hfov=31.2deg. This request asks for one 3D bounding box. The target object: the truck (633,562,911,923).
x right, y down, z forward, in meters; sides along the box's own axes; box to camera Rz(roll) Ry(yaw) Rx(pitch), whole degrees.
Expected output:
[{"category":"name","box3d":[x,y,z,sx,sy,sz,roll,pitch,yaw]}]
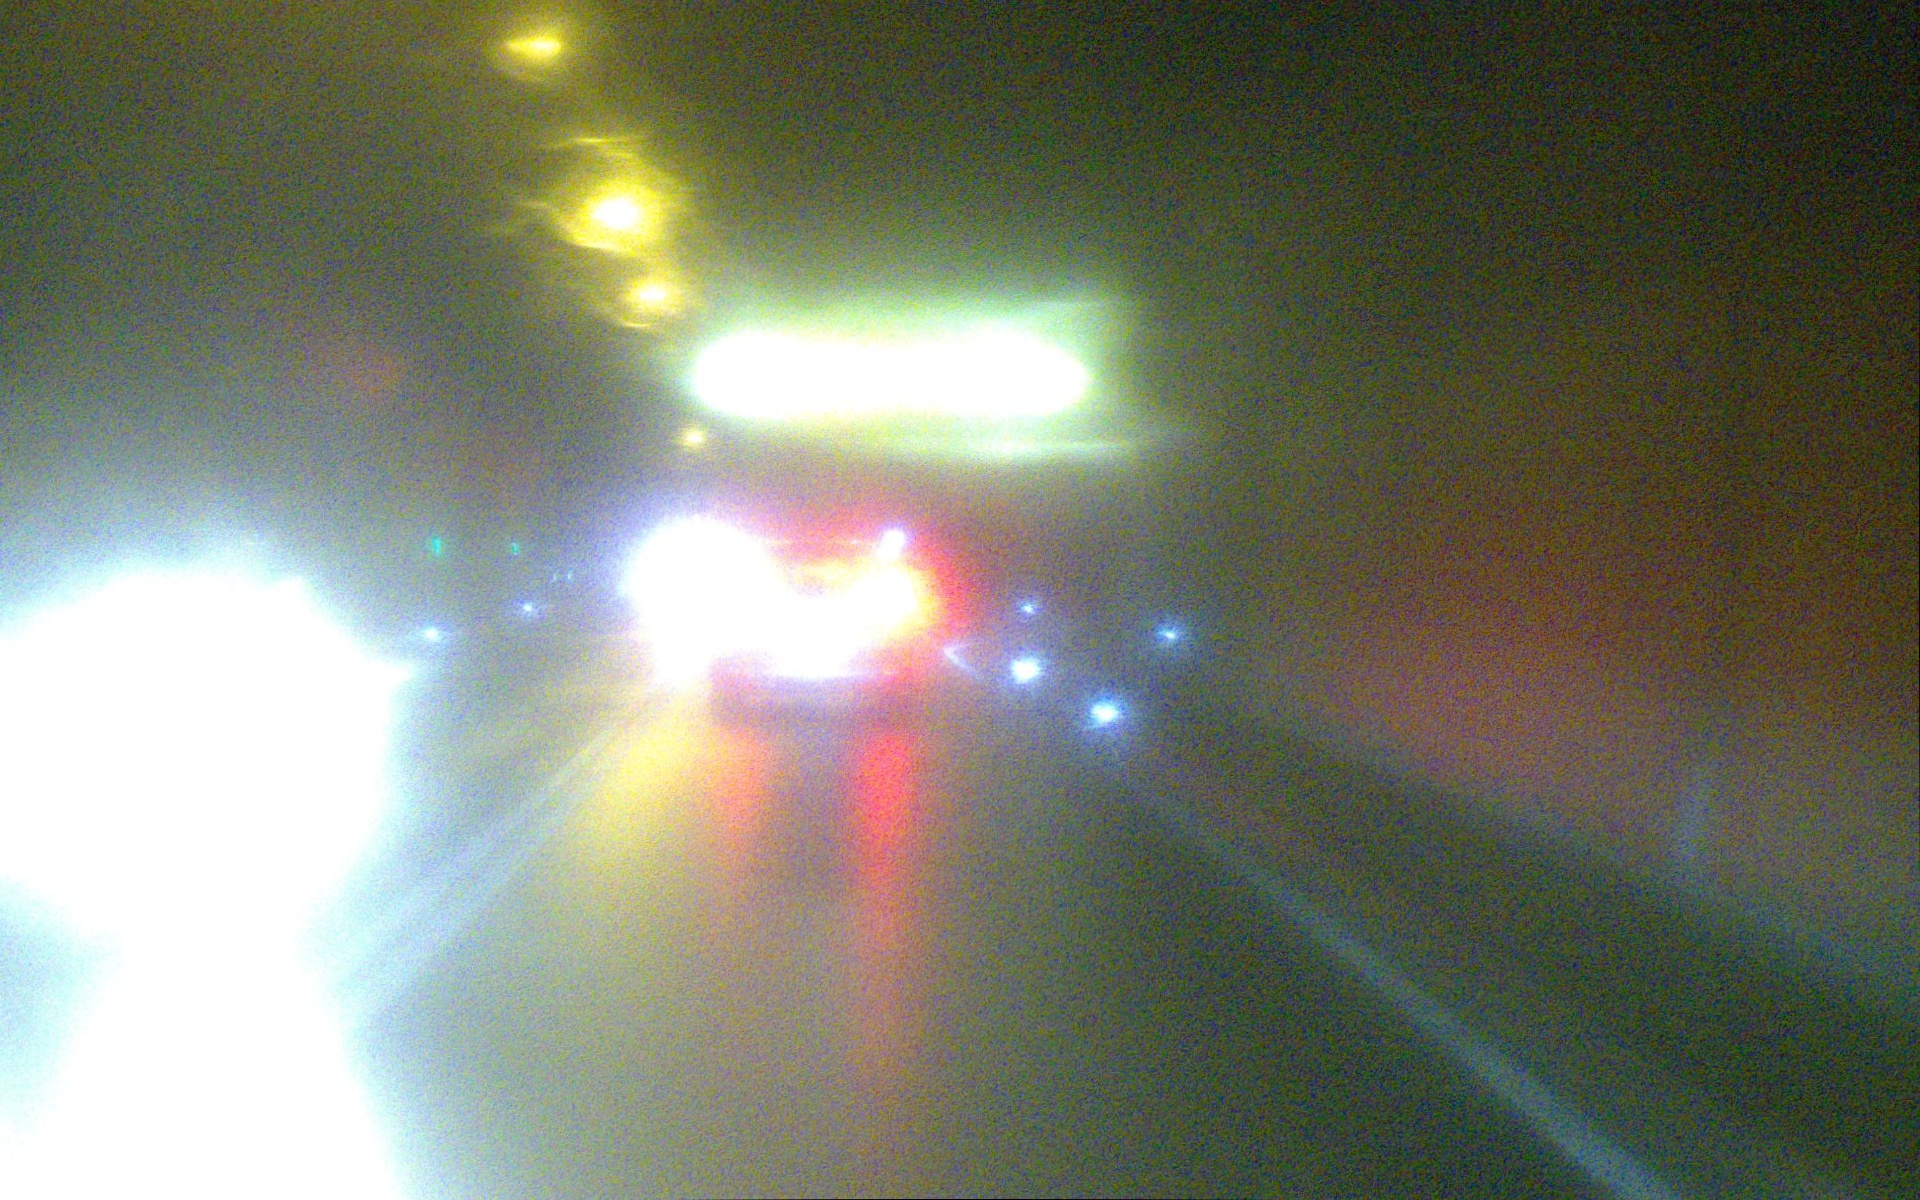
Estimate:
[{"category":"truck","box3d":[-1.812,1.186,33.256,2.262,3.000,7.416,2,1,-3]}]

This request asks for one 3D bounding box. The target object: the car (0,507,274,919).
[{"category":"car","box3d":[-3.917,0.383,14.641,1.582,1.532,3.177,3,1,-6]}]
